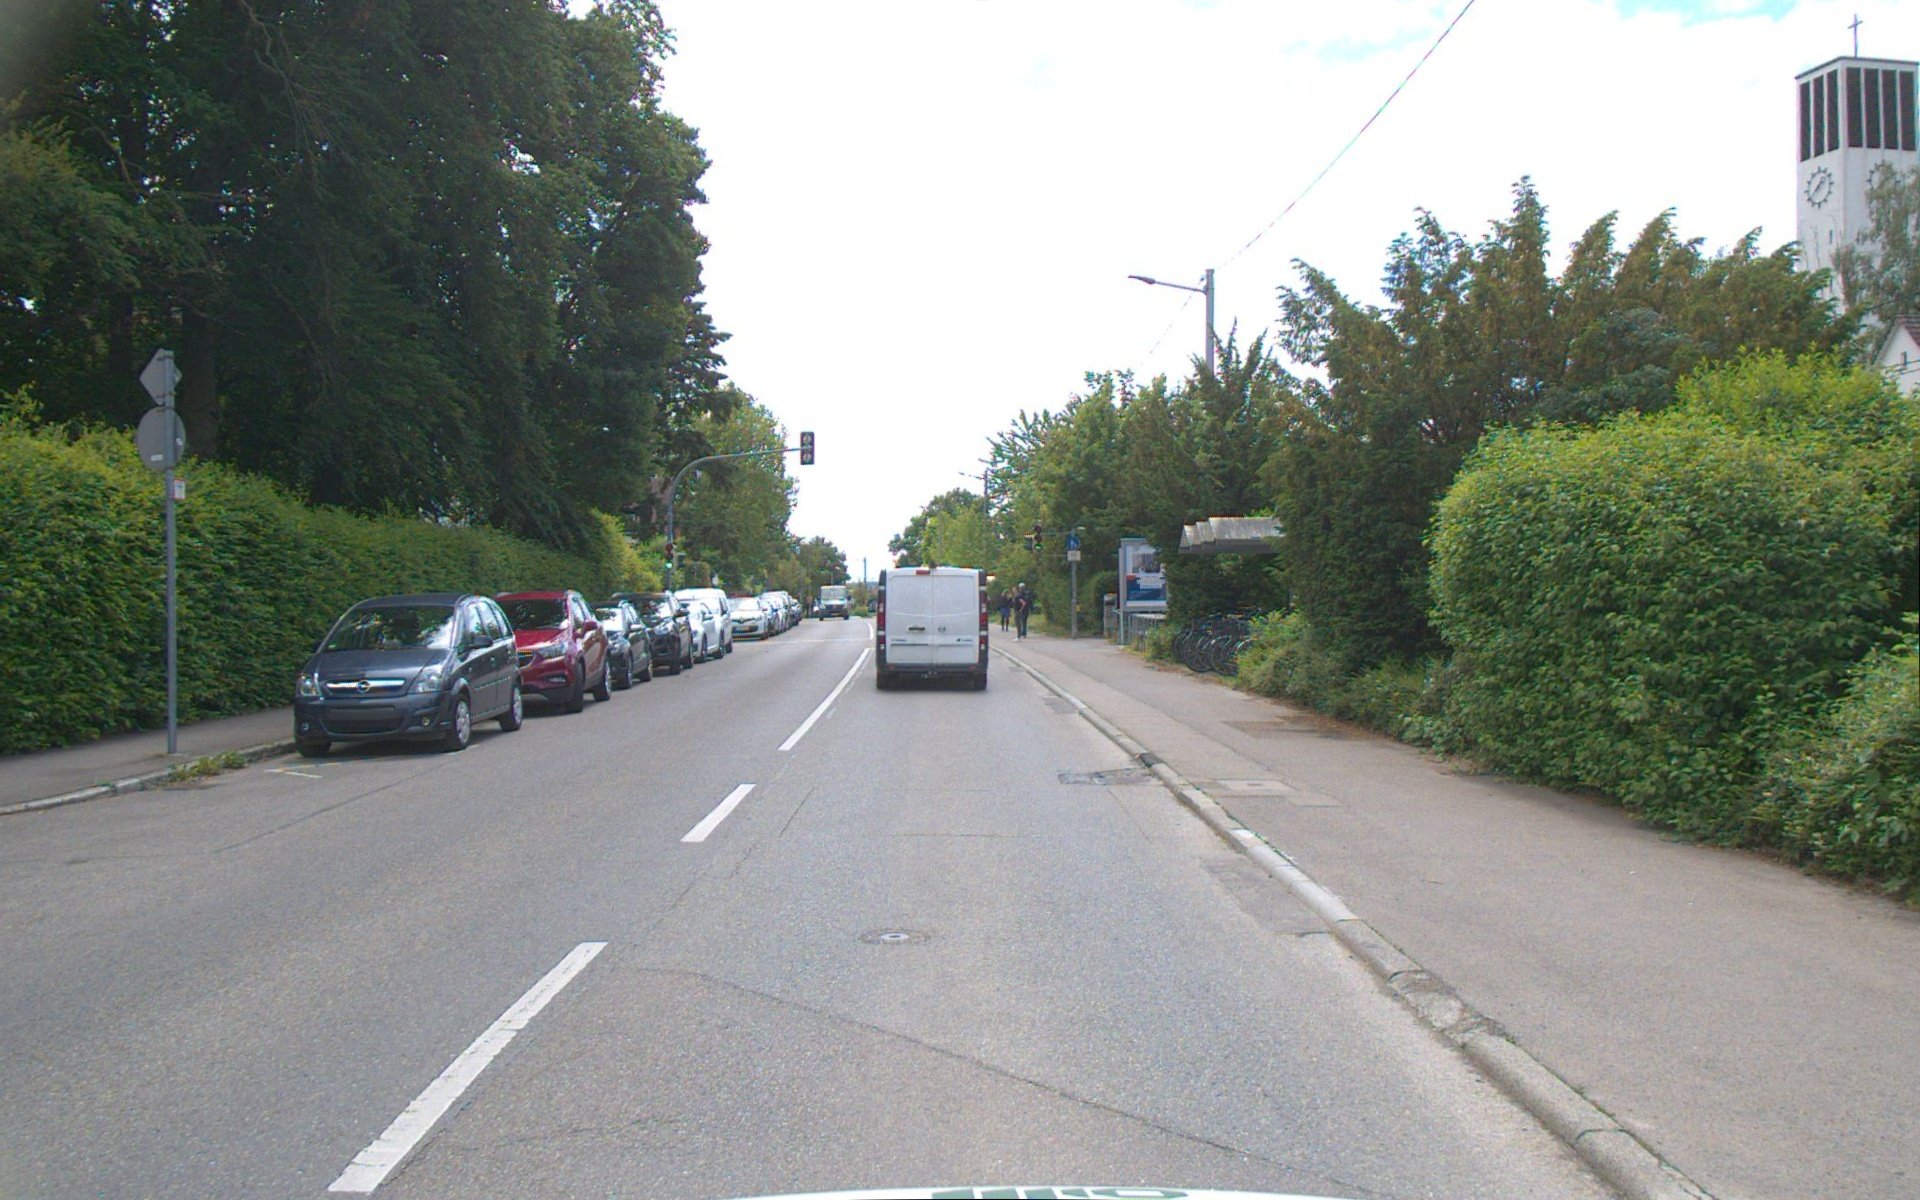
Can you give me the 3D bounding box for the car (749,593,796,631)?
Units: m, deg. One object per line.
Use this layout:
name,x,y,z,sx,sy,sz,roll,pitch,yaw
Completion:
car,-8.547,0.531,75.509,1.744,1.698,3.999,0,0,-1

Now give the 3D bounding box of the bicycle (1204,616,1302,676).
bicycle,5.211,0.814,29.455,1.664,1.048,0.491,0,0,-3

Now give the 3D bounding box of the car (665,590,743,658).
car,-7.162,0.644,46.556,1.726,1.787,3.813,-1,0,-3

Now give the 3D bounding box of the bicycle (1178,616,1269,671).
bicycle,5.052,0.827,31.772,1.664,1.048,0.491,0,0,-3

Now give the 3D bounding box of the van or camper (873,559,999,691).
van or camper,-0.411,0.409,28.194,1.953,2.049,4.444,1,0,-1

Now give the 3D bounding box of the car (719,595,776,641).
car,-7.713,0.629,60.357,1.726,1.584,3.813,-1,0,-3

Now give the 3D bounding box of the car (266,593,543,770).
car,-5.887,0.776,18.060,1.726,1.654,4.183,-1,0,-3

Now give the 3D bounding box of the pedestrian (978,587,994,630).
pedestrian,1.159,0.379,73.442,0.688,1.883,0.666,0,0,-1

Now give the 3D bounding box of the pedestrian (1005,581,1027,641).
pedestrian,1.764,0.329,51.856,0.666,1.873,0.646,0,0,5

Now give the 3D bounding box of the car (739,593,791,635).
car,-8.092,0.548,69.064,1.744,1.698,3.999,0,0,-1

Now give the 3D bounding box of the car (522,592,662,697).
car,-6.394,0.718,29.139,1.726,1.685,3.813,-1,0,-3

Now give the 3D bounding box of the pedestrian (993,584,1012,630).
pedestrian,1.711,0.296,66.580,0.638,1.838,0.564,0,0,-13

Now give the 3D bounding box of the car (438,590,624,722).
car,-6.029,0.725,23.683,1.726,1.685,4.059,-1,0,-3

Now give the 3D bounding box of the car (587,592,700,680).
car,-6.508,0.688,34.346,1.726,1.685,3.813,-1,0,-3

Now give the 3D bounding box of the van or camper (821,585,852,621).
van or camper,-8.327,0.205,111.623,1.965,2.301,4.608,-1,0,-4

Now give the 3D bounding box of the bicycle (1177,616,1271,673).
bicycle,4.886,0.820,30.697,1.664,1.048,0.491,0,0,-3

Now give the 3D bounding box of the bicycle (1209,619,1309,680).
bicycle,5.216,0.852,28.879,1.664,1.048,0.491,0,0,-3

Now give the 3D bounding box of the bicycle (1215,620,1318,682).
bicycle,5.238,0.865,28.324,1.664,1.048,0.491,0,0,-3

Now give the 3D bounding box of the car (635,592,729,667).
car,-6.638,0.665,39.850,1.726,1.685,3.813,-1,0,-3

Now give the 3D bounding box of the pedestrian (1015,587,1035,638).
pedestrian,2.229,0.412,56.444,0.660,1.726,0.522,0,0,3

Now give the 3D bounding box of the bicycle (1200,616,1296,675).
bicycle,5.217,0.820,30.019,1.664,1.048,0.491,0,0,-3

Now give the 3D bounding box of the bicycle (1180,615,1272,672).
bicycle,5.012,0.820,31.220,1.664,1.048,0.491,0,0,-3
